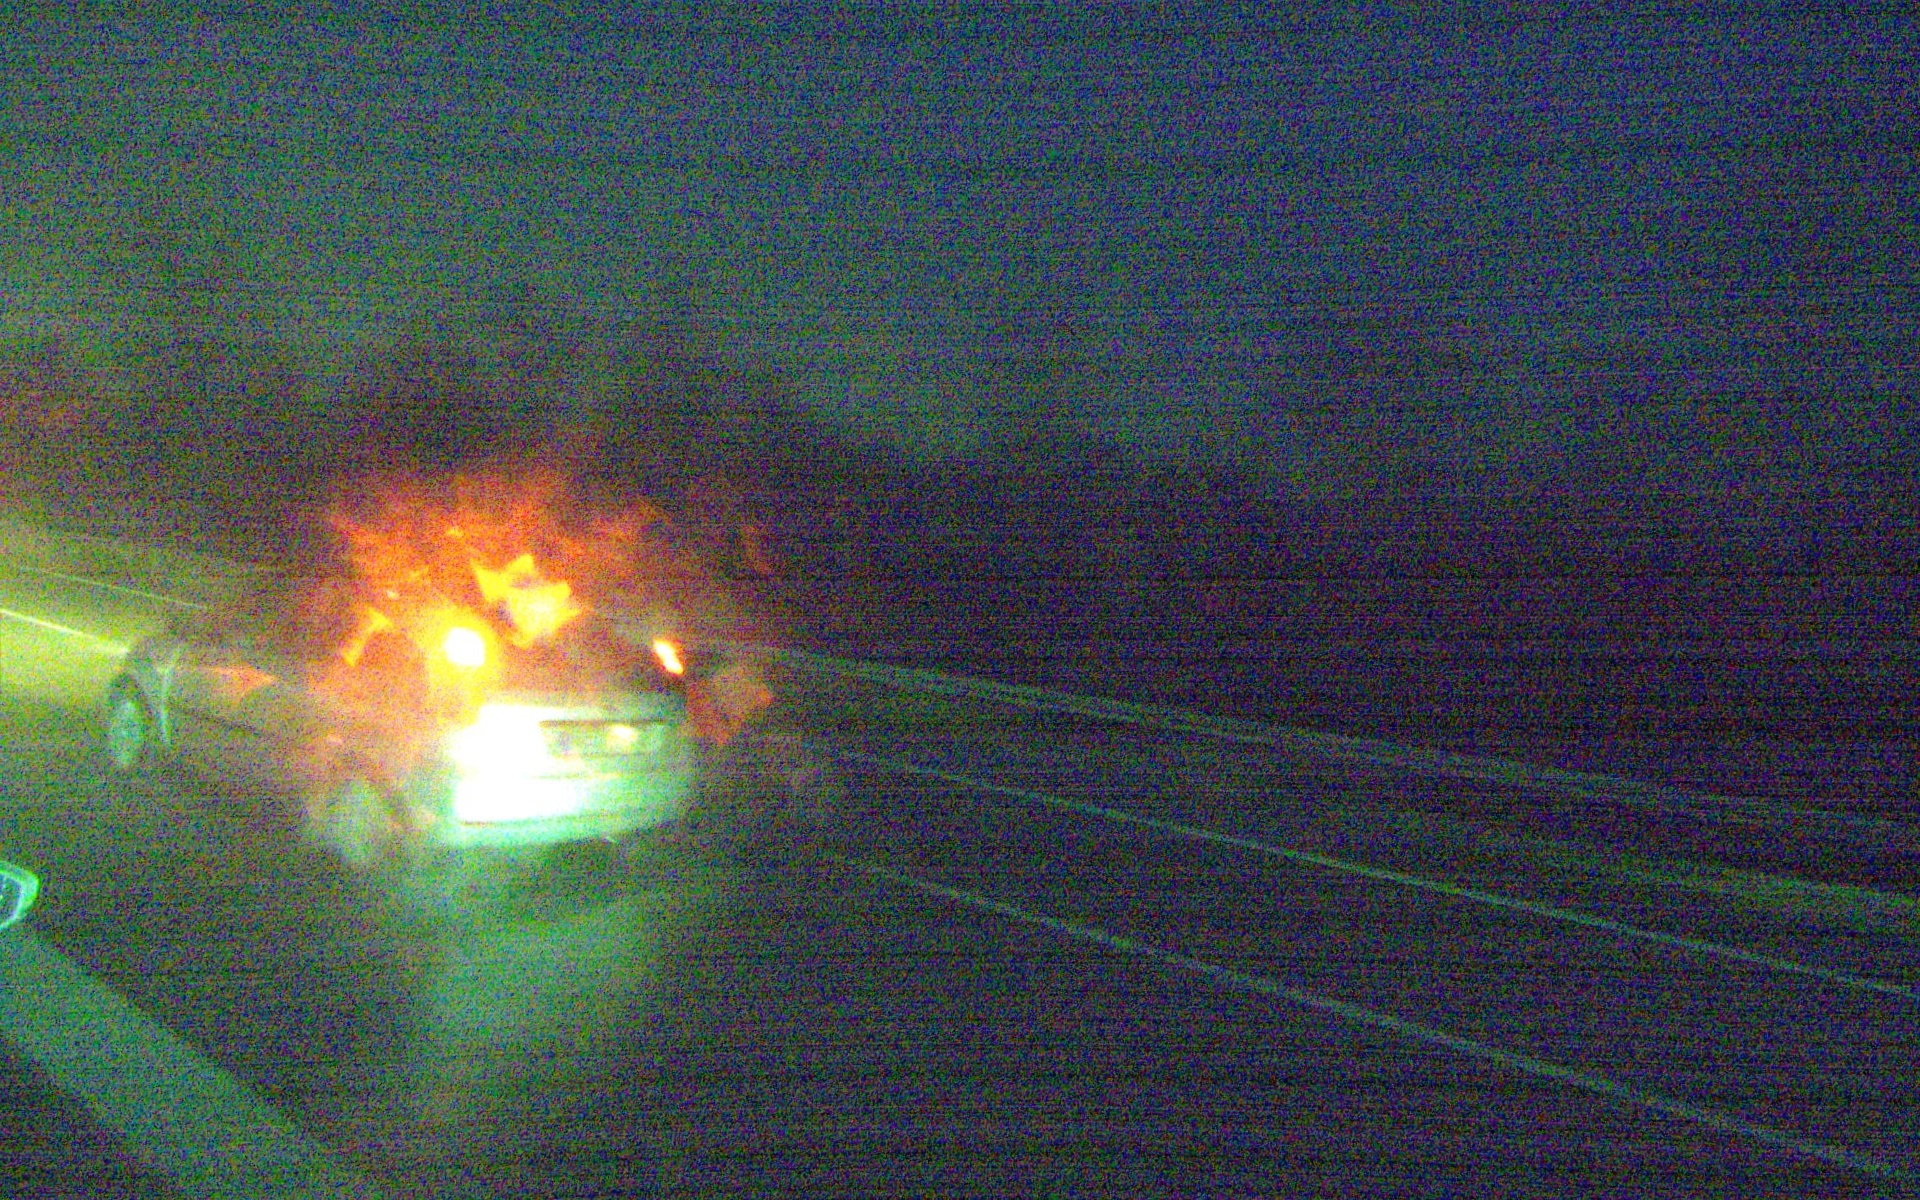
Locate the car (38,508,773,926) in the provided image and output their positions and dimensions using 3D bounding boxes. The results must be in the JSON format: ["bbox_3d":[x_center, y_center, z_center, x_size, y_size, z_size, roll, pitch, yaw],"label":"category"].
[{"bbox_3d":[-3.336,0.457,5.876,4.124,1.474,1.773,7,-1,30],"label":"car"}]
